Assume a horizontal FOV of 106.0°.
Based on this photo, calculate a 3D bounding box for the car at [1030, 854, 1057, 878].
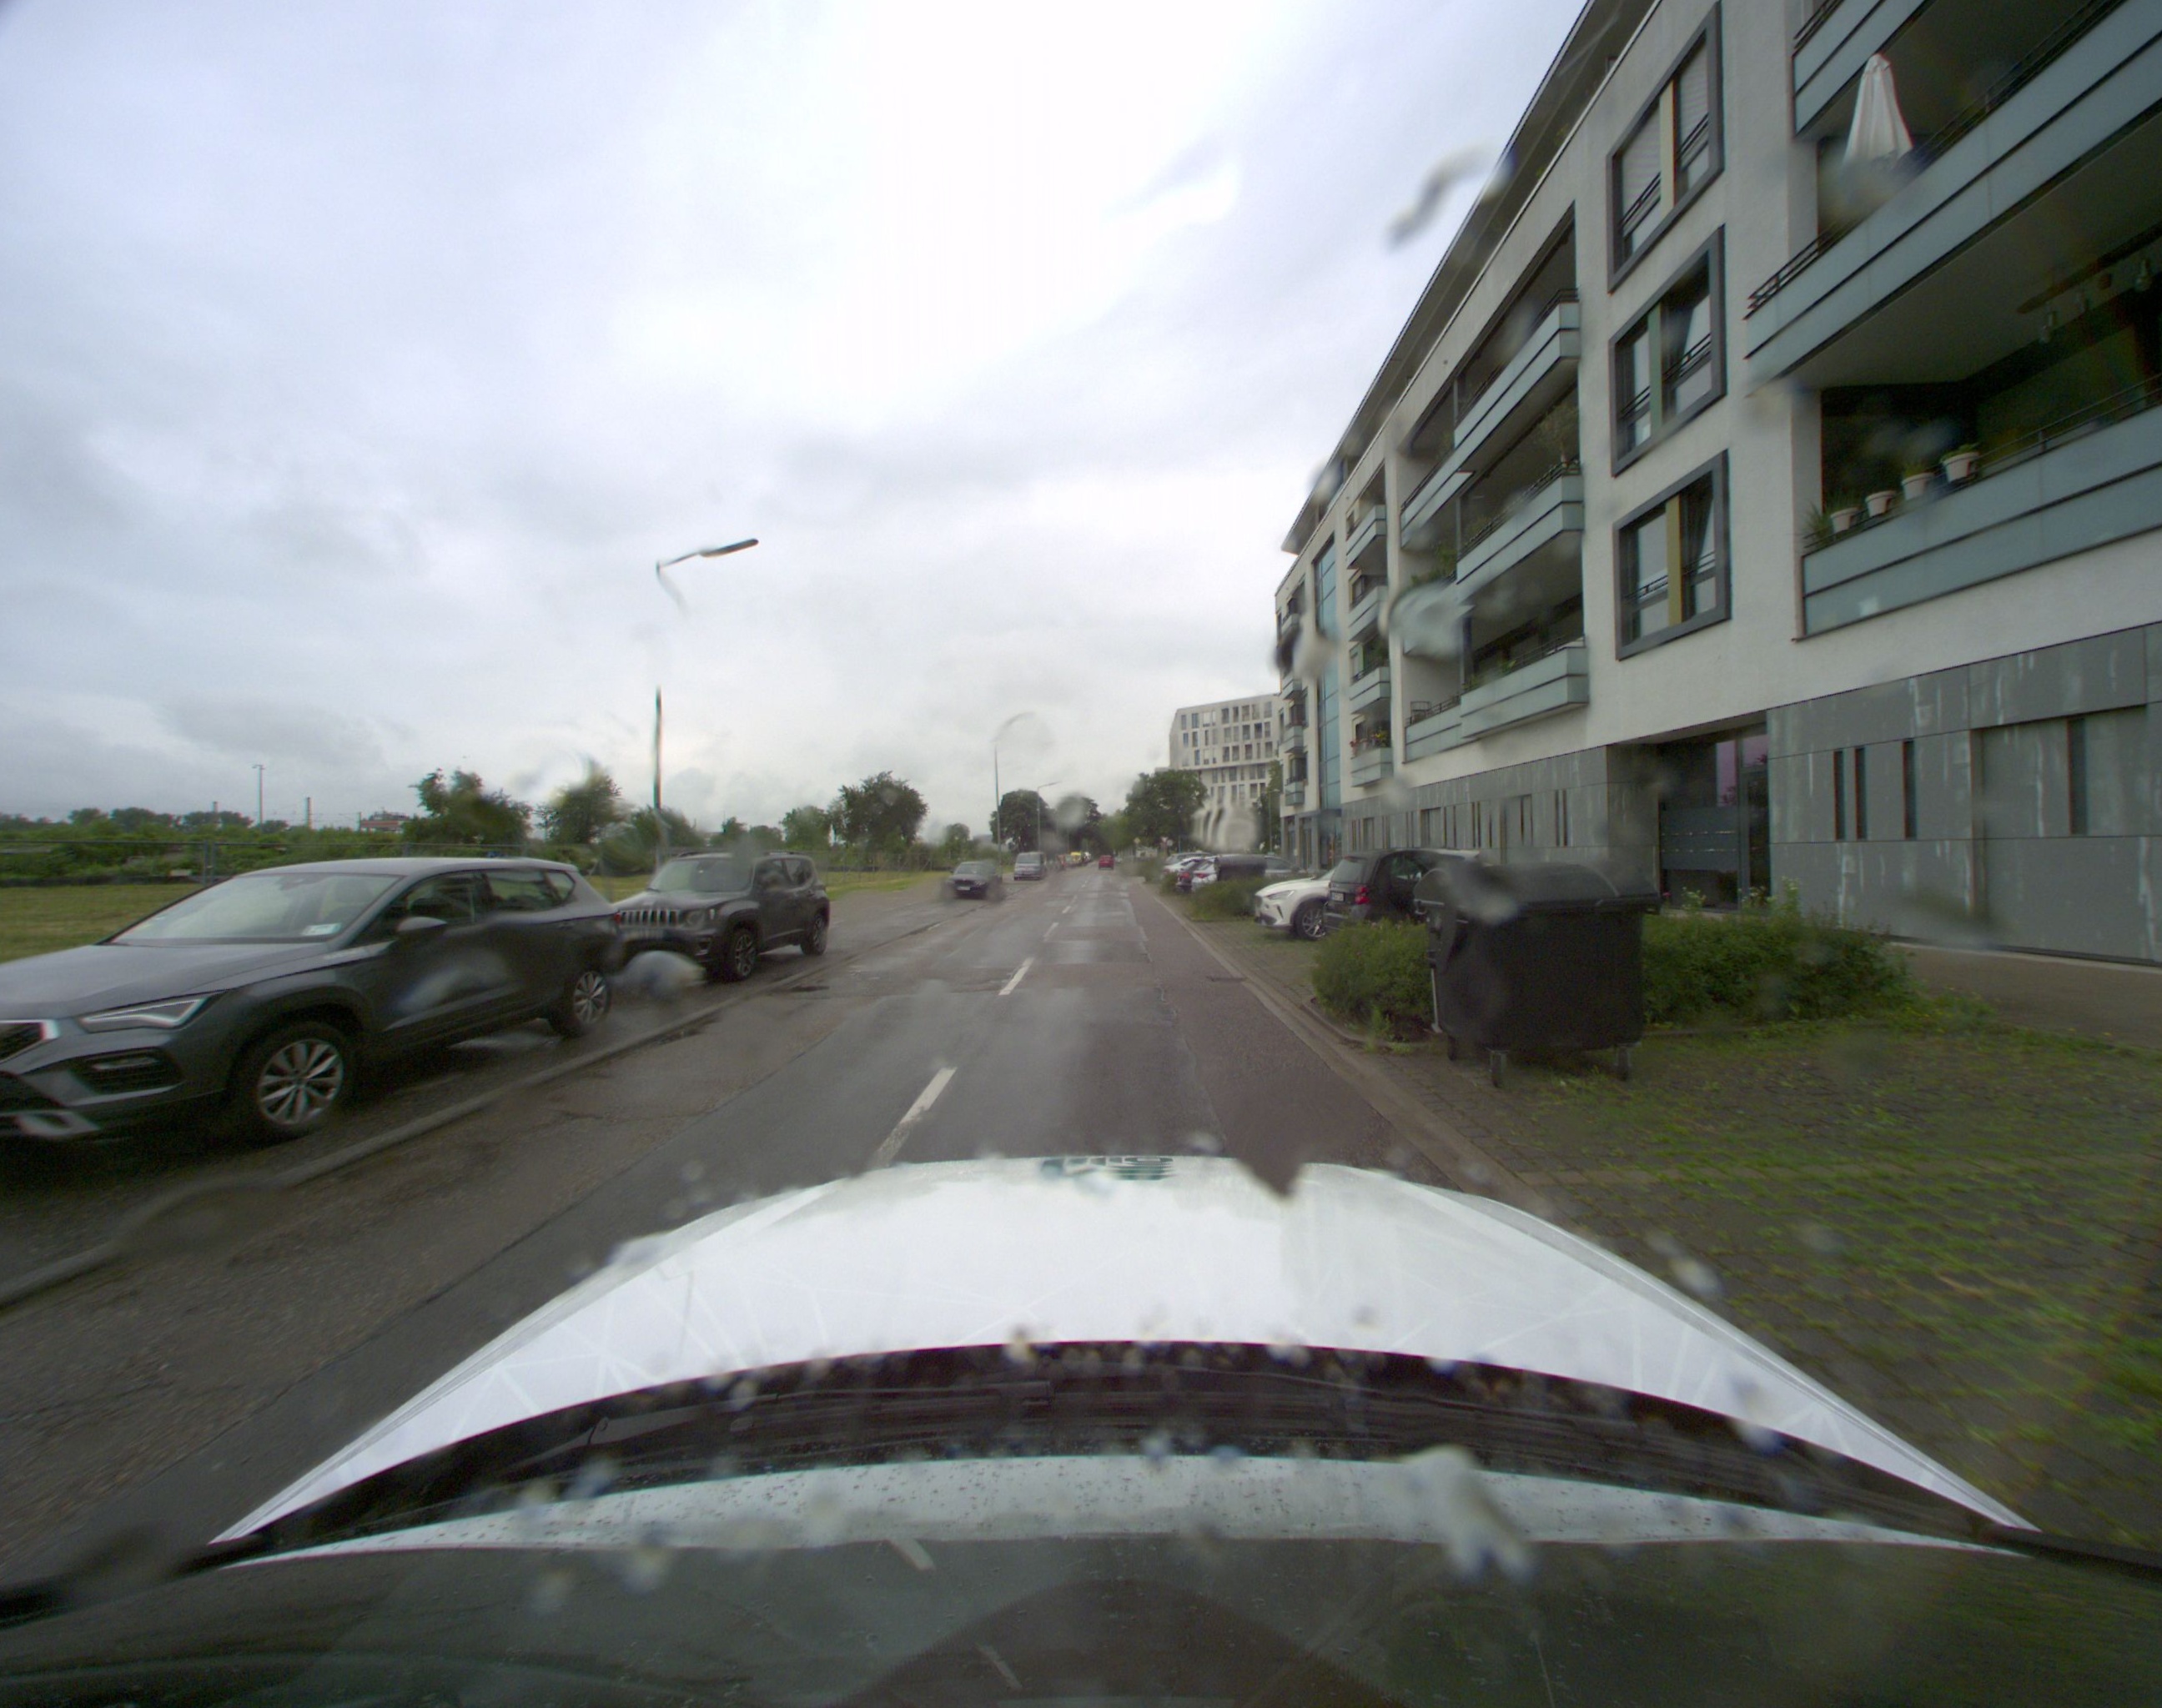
[{"bbox_3d":[-3.231,1.019,71.485,1.952,2.058,5.277,0,0,2],"label":"car"}]

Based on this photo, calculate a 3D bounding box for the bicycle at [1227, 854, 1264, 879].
[{"bbox_3d":[10.657,0.791,52.724,2.168,1.522,0.634,-2,-1,22],"label":"bicycle"}]

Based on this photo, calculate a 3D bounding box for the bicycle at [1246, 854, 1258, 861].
[{"bbox_3d":[25.782,0.498,122.702,0.716,1.033,2.086,-2,-1,41],"label":"bicycle"}]

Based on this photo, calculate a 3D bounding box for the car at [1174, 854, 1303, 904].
[{"bbox_3d":[5.344,0.842,28.039,4.045,1.497,2.059,-3,0,2],"label":"car"}]

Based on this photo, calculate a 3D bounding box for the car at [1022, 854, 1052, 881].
[{"bbox_3d":[-3.507,1.061,65.745,1.887,2.014,5.260,-1,0,2],"label":"car"}]

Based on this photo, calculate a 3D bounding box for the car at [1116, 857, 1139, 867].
[{"bbox_3d":[9.506,1.609,166.130,4.527,1.685,1.885,-6,-1,-2],"label":"car"}]

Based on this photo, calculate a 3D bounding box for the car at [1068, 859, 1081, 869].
[{"bbox_3d":[-1.083,1.713,136.287,1.987,1.594,5.017,2,-1,1],"label":"car"}]

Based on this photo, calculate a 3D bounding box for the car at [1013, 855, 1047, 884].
[{"bbox_3d":[-3.583,1.069,57.964,1.948,1.902,4.997,-1,0,2],"label":"car"}]

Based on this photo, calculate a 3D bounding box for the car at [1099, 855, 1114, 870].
[{"bbox_3d":[3.047,1.009,97.898,1.750,1.706,4.000,-1,0,1],"label":"car"}]

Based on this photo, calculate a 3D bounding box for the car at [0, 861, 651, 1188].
[{"bbox_3d":[-5.276,0.874,6.140,1.746,1.590,4.135,-1,0,2],"label":"car"}]

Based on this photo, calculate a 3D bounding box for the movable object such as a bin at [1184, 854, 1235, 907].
[{"bbox_3d":[3.921,0.789,25.063,1.295,1.526,1.582,-3,-1,2],"label":"movable object such as a bin"}]

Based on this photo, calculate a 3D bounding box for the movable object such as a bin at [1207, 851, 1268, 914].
[{"bbox_3d":[4.198,0.746,22.004,1.295,1.526,1.582,-4,-1,2],"label":"movable object such as a bin"}]

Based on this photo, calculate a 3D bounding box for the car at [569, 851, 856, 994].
[{"bbox_3d":[-5.095,0.825,12.193,1.744,1.693,4.887,-1,0,5],"label":"car"}]

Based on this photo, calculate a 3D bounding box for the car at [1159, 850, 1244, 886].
[{"bbox_3d":[6.257,0.724,42.547,4.076,1.623,1.966,-3,-1,0],"label":"car"}]

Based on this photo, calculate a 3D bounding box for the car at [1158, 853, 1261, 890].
[{"bbox_3d":[5.878,0.795,37.653,4.394,1.405,1.911,-3,-1,1],"label":"car"}]

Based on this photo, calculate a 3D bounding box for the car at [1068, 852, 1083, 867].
[{"bbox_3d":[-0.960,1.042,147.958,2.182,2.694,6.086,2,-1,3],"label":"car"}]

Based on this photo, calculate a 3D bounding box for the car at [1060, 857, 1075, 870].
[{"bbox_3d":[-1.796,1.283,111.294,1.797,1.561,4.034,2,0,2],"label":"car"}]

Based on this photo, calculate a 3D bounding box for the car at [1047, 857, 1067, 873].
[{"bbox_3d":[-2.773,1.273,94.543,1.932,1.767,4.335,-1,-1,3],"label":"car"}]

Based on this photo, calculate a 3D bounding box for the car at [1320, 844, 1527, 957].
[{"bbox_3d":[5.193,0.674,12.507,2.619,1.507,1.205,-3,0,-5],"label":"car"}]

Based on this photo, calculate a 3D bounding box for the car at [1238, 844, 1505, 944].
[{"bbox_3d":[5.334,0.715,15.402,4.330,1.530,1.893,-3,-1,1],"label":"car"}]

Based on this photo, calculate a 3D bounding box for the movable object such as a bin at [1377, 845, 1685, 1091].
[{"bbox_3d":[3.107,0.738,5.831,1.490,1.493,1.156,-4,-1,1],"label":"movable object such as a bin"}]

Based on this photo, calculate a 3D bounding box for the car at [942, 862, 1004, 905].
[{"bbox_3d":[-4.333,1.143,33.281,1.840,1.561,4.154,1,0,2],"label":"car"}]
